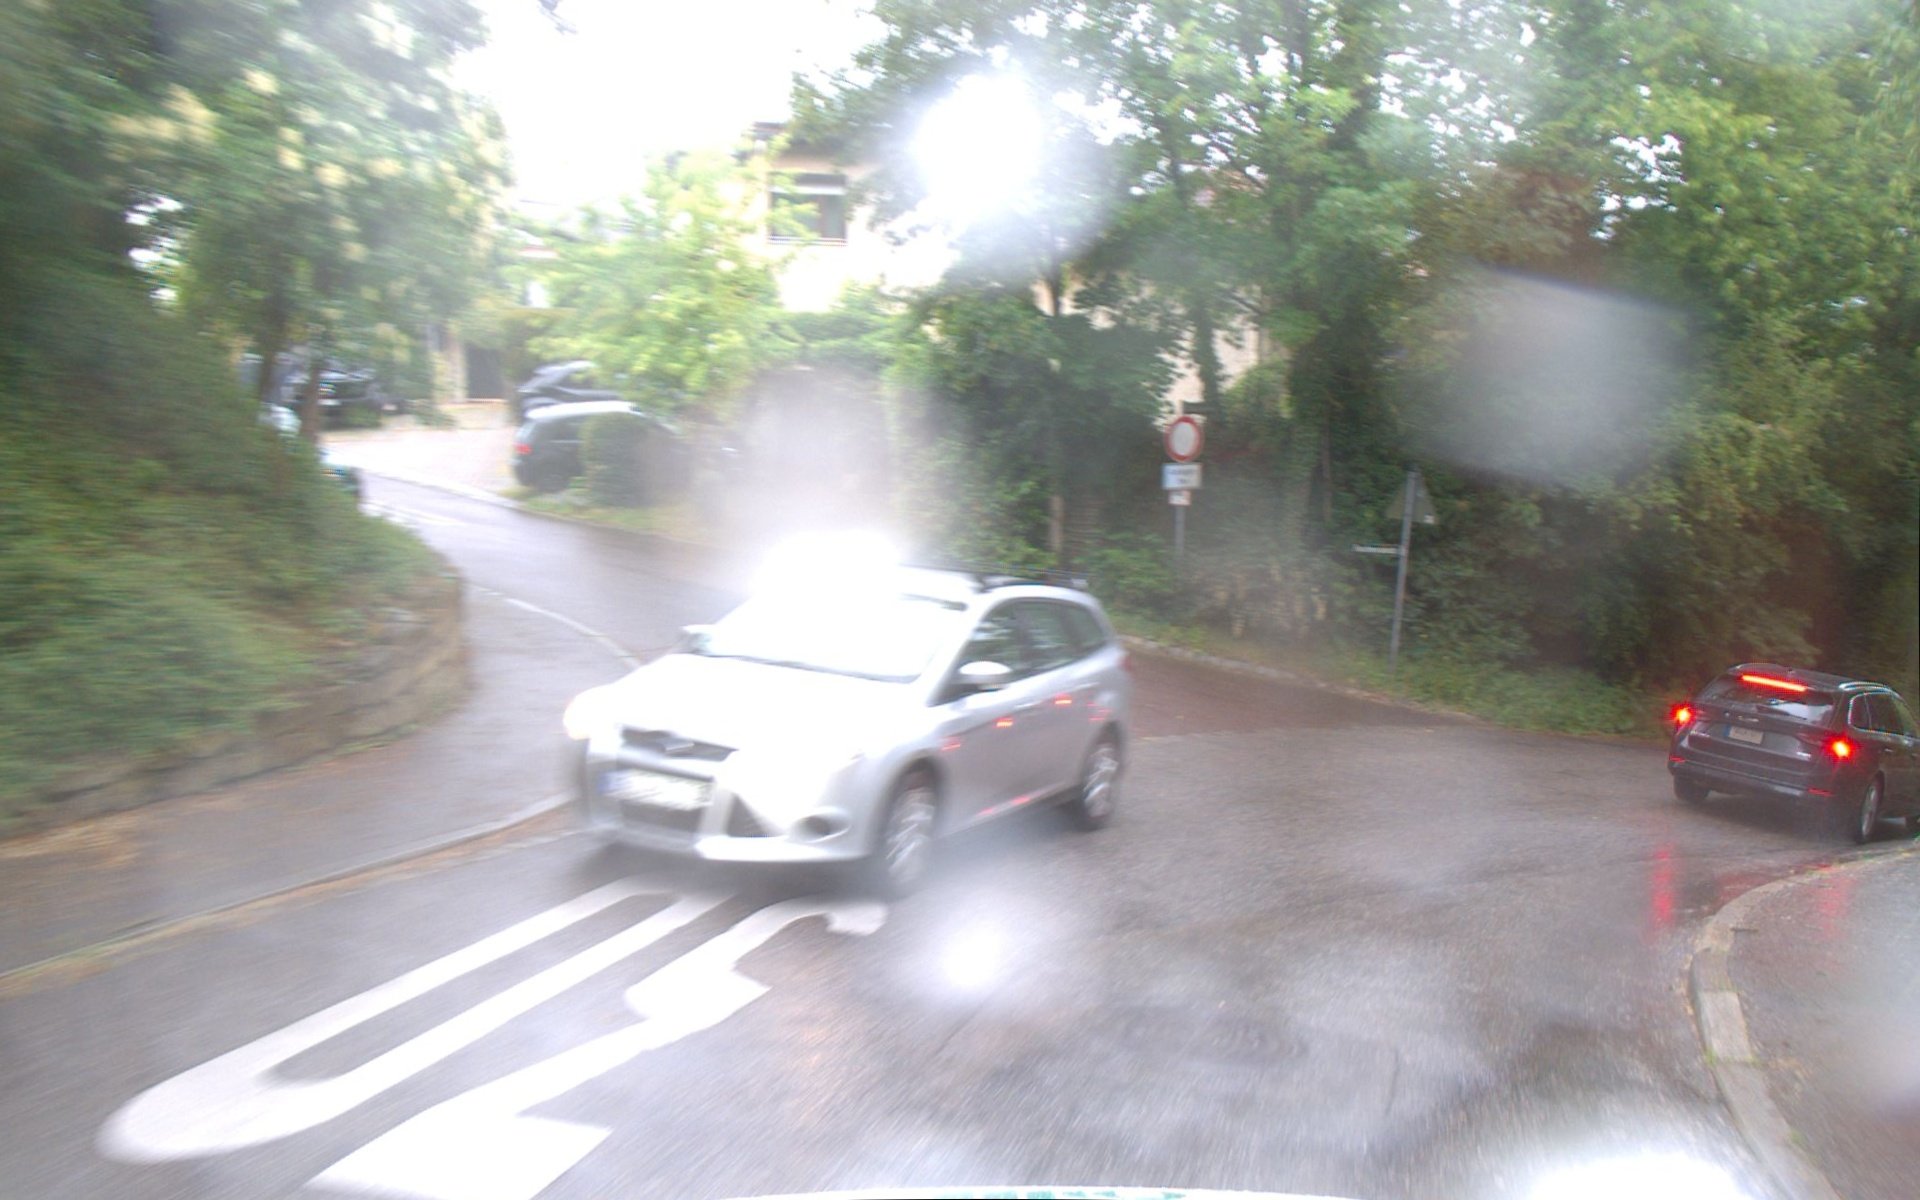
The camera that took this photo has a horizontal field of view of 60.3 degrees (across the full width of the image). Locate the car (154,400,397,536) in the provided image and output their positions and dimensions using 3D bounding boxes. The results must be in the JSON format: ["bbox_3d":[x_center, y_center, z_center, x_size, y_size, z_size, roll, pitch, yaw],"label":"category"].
[{"bbox_3d":[-9.956,-1.961,23.914,3.938,1.485,1.826,13,12,43],"label":"car"}]

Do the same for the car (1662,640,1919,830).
[{"bbox_3d":[8.542,1.237,16.602,1.673,1.475,3.980,4,3,39],"label":"car"}]

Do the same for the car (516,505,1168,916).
[{"bbox_3d":[-0.355,0.475,9.076,1.640,1.563,4.117,7,2,25],"label":"car"}]

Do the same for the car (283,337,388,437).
[{"bbox_3d":[-13.778,-4.790,36.688,1.859,1.640,3.990,-5,15,-17],"label":"car"}]

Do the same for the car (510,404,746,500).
[{"bbox_3d":[-5.744,-2.597,28.900,3.914,1.439,1.699,0,12,-10],"label":"car"}]

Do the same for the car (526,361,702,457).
[{"bbox_3d":[-6.966,-3.883,33.596,3.332,1.598,1.596,1,15,-7],"label":"car"}]
